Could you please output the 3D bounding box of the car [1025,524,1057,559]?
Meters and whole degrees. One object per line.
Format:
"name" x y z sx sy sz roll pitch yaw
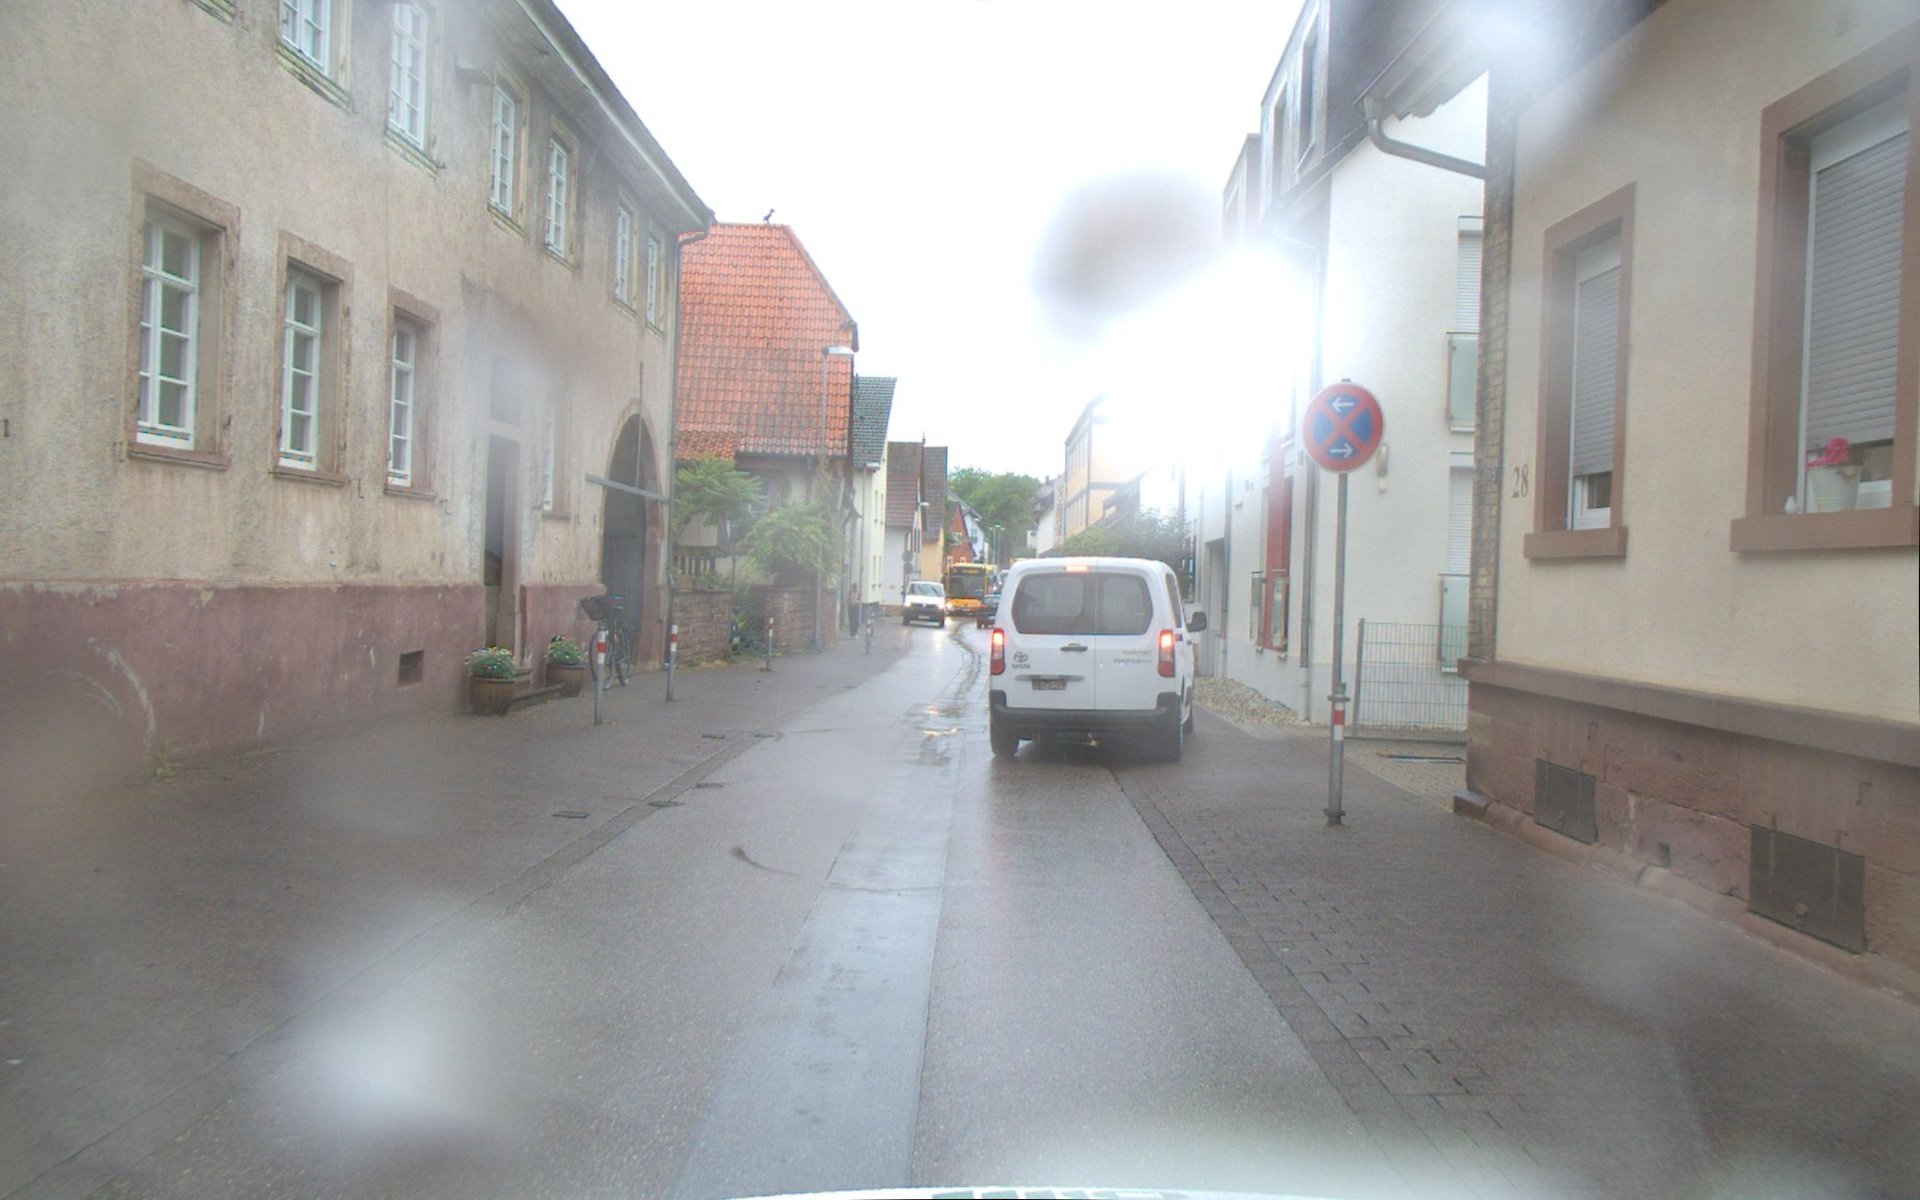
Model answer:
"car" 5.395 -3.885 110.524 1.952 2.049 4.001 3 0 2

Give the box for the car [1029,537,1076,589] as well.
"car" 3.983 -1.558 71.347 1.789 2.049 3.694 3 0 1

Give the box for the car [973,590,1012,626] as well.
"car" 1.418 0.346 71.211 1.529 1.395 3.585 3 0 2

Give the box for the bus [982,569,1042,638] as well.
"bus" 2.629 0.205 85.269 2.736 3.235 8.178 4 0 1

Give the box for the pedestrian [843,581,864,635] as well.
"pedestrian" -3.072 0.235 47.715 0.557 1.557 0.568 1 0 -8

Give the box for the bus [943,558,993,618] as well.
"bus" 0.540 -0.679 101.668 2.736 3.386 8.178 4 0 1

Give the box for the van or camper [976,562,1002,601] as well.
"van or camper" 2.408 -1.497 135.199 1.797 2.976 5.364 3 0 3

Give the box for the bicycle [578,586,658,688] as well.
"bicycle" -4.303 0.459 20.897 0.473 1.200 1.836 3 -1 3

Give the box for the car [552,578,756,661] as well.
"car" -5.753 0.352 31.302 3.454 1.400 1.595 2 0 3

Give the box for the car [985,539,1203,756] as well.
"car" 1.449 0.417 16.329 1.756 1.850 4.105 0 0 10

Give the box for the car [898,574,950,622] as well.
"car" -1.581 -0.073 74.141 1.853 2.001 4.725 3 0 3
